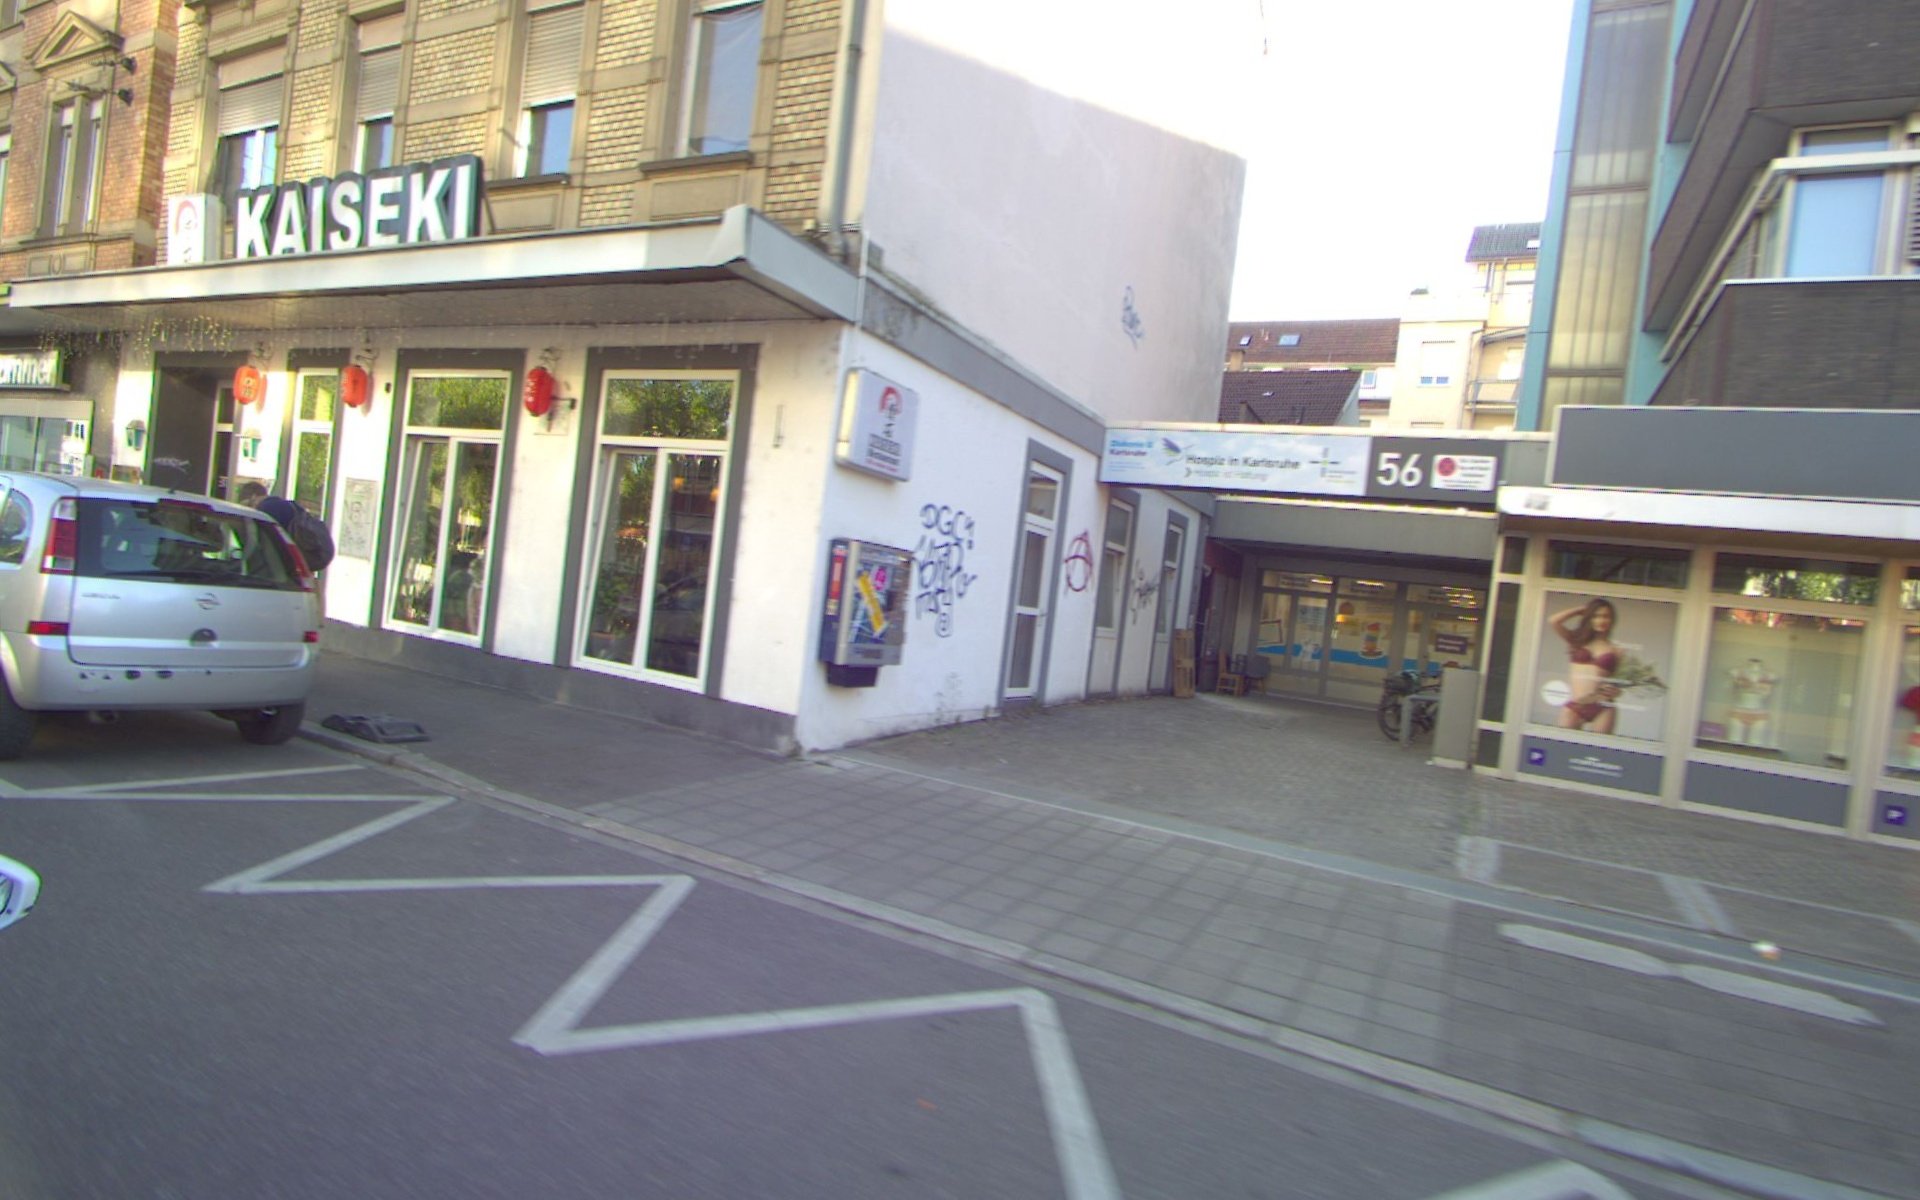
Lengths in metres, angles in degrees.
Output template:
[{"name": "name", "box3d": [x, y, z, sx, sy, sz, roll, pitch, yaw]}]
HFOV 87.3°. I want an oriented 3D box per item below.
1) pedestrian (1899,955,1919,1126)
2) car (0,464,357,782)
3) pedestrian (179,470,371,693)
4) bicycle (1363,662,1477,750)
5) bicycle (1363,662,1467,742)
[{"name": "pedestrian", "box3d": [3.916, 1.084, 3.252, 0.929, 1.760, 0.788, 7, 2, 28]}, {"name": "car", "box3d": [-6.178, -0.023, 6.837, 3.876, 1.635, 1.641, 7, 0, 27]}, {"name": "pedestrian", "box3d": [-6.127, -0.164, 9.013, 1.036, 1.816, 0.947, 7, 2, 28]}, {"name": "bicycle", "box3d": [6.792, 1.564, 14.882, 1.394, 1.099, 0.431, 7, 1, -4]}, {"name": "bicycle", "box3d": [7.404, 1.657, 16.397, 1.394, 1.099, 0.431, 7, 1, -4]}]
